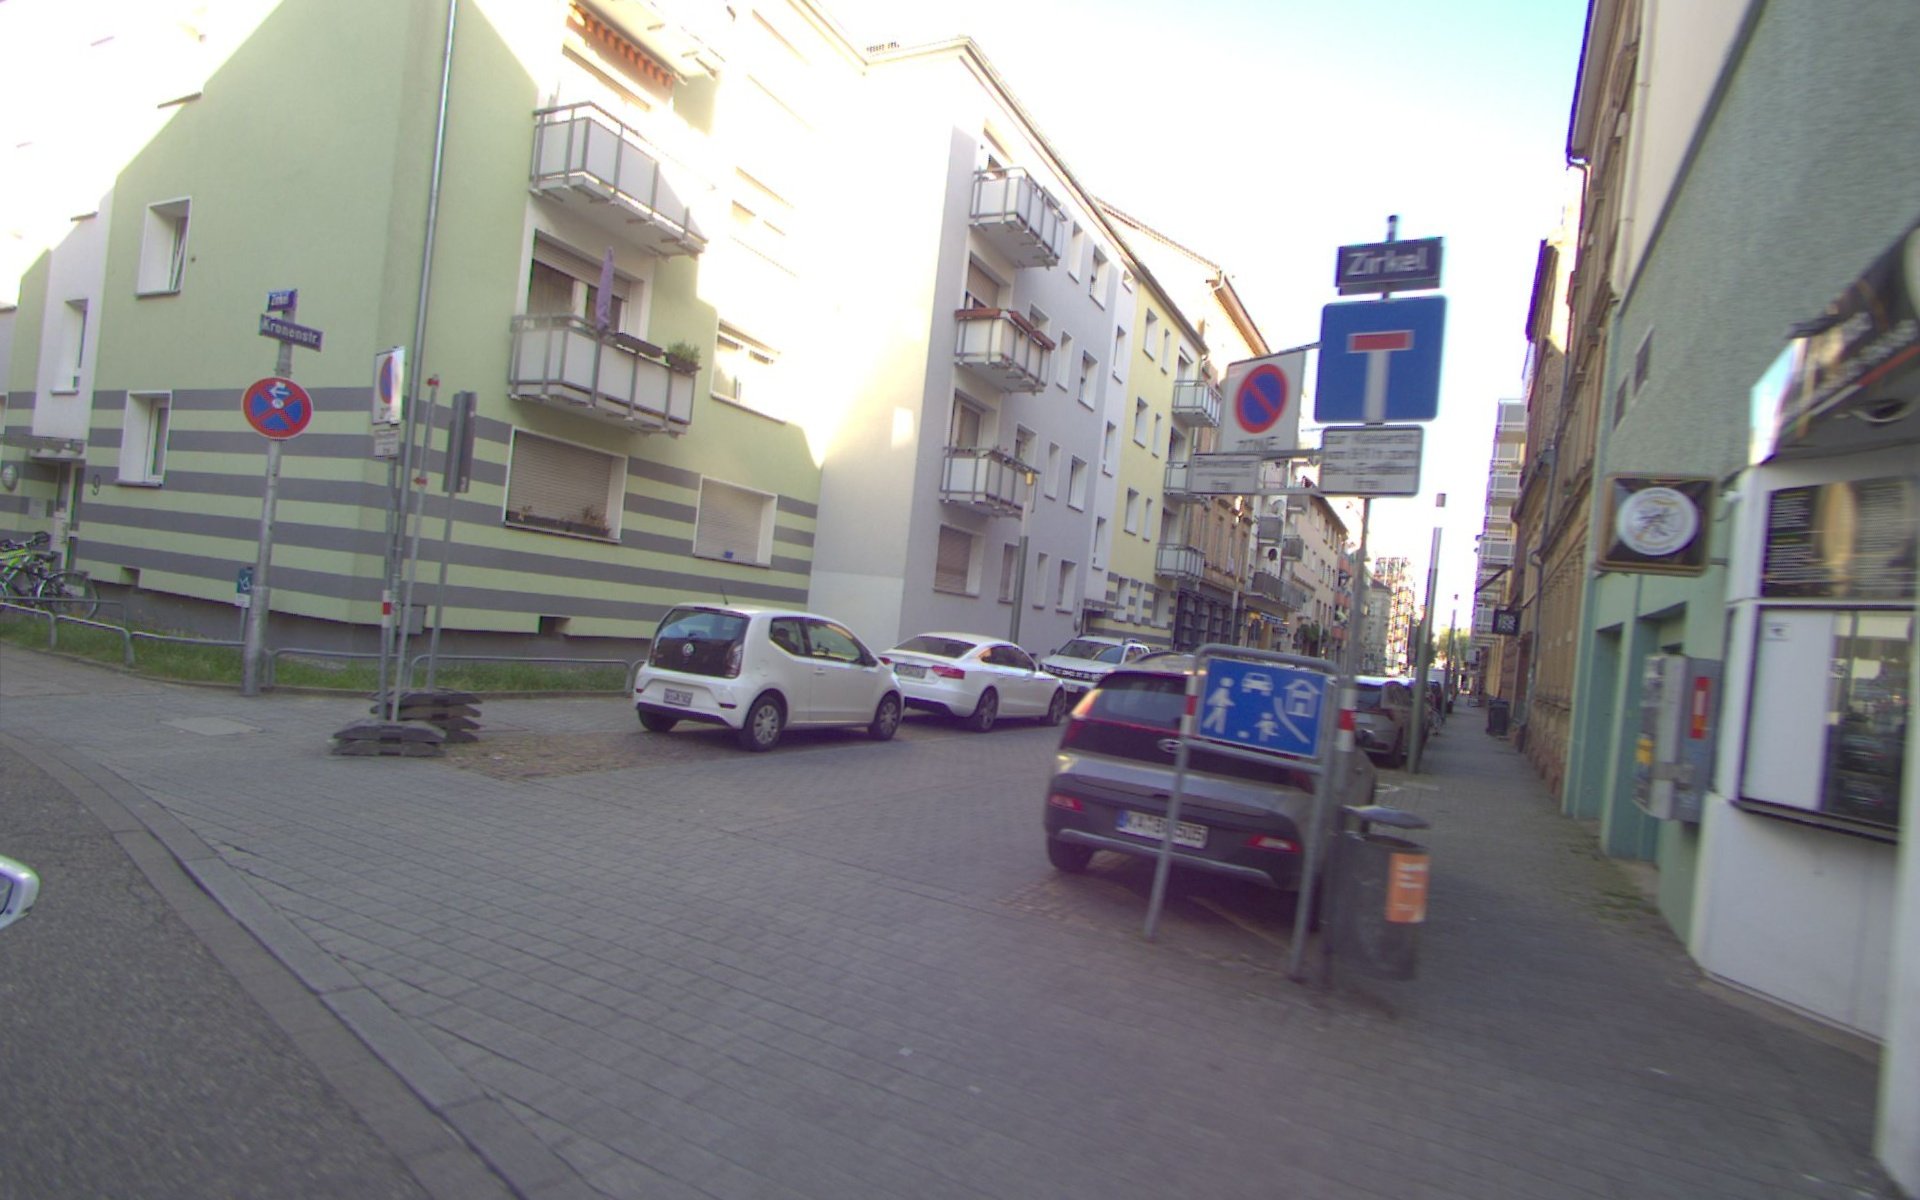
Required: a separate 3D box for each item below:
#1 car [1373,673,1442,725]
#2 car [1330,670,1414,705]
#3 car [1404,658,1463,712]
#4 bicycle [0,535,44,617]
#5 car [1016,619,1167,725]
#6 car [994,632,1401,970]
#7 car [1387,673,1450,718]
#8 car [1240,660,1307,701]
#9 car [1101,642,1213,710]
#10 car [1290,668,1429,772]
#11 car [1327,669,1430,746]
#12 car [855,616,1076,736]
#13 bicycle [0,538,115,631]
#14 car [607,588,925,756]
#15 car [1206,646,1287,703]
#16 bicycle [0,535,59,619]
[{"bbox_3d":[15.183,3.339,34.048,1.753,1.499,3.964,4,-3,28],"label":"car"},{"bbox_3d":[22.141,4.696,54.148,1.759,1.476,3.743,5,-2,-38],"label":"car"},{"bbox_3d":[22.140,4.021,46.974,2.124,2.163,4.655,4,-4,29],"label":"car"},{"bbox_3d":[-13.771,-0.347,13.972,0.233,1.157,1.606,6,2,18],"label":"bicycle"},{"bbox_3d":[2.875,1.490,21.183,1.757,1.738,4.032,10,1,26],"label":"car"},{"bbox_3d":[1.987,1.137,7.213,1.833,1.500,4.088,5,-1,27],"label":"car"},{"bbox_3d":[18.740,3.842,41.019,1.990,1.565,3.940,4,-2,29],"label":"car"},{"bbox_3d":[12.840,3.320,41.073,1.758,1.403,3.952,5,-2,29],"label":"car"},{"bbox_3d":[5.237,2.014,26.315,1.757,1.446,4.186,6,-2,26],"label":"car"},{"bbox_3d":[7.294,2.068,18.138,1.646,1.499,4.174,4,-2,30],"label":"car"},{"bbox_3d":[9.914,2.463,23.676,1.753,1.500,3.962,4,-2,29],"label":"car"},{"bbox_3d":[0.246,1.198,16.128,1.680,1.500,4.219,5,-1,28],"label":"car"},{"bbox_3d":[-12.328,-0.206,13.235,0.542,1.157,1.750,6,3,26],"label":"bicycle"},{"bbox_3d":[-2.070,0.836,11.723,1.680,1.499,3.554,5,-2,28],"label":"car"},{"bbox_3d":[10.389,2.732,36.293,1.758,1.737,4.339,5,-2,29],"label":"car"},{"bbox_3d":[-13.514,-0.323,13.889,0.278,1.157,1.644,6,2,18],"label":"bicycle"}]
